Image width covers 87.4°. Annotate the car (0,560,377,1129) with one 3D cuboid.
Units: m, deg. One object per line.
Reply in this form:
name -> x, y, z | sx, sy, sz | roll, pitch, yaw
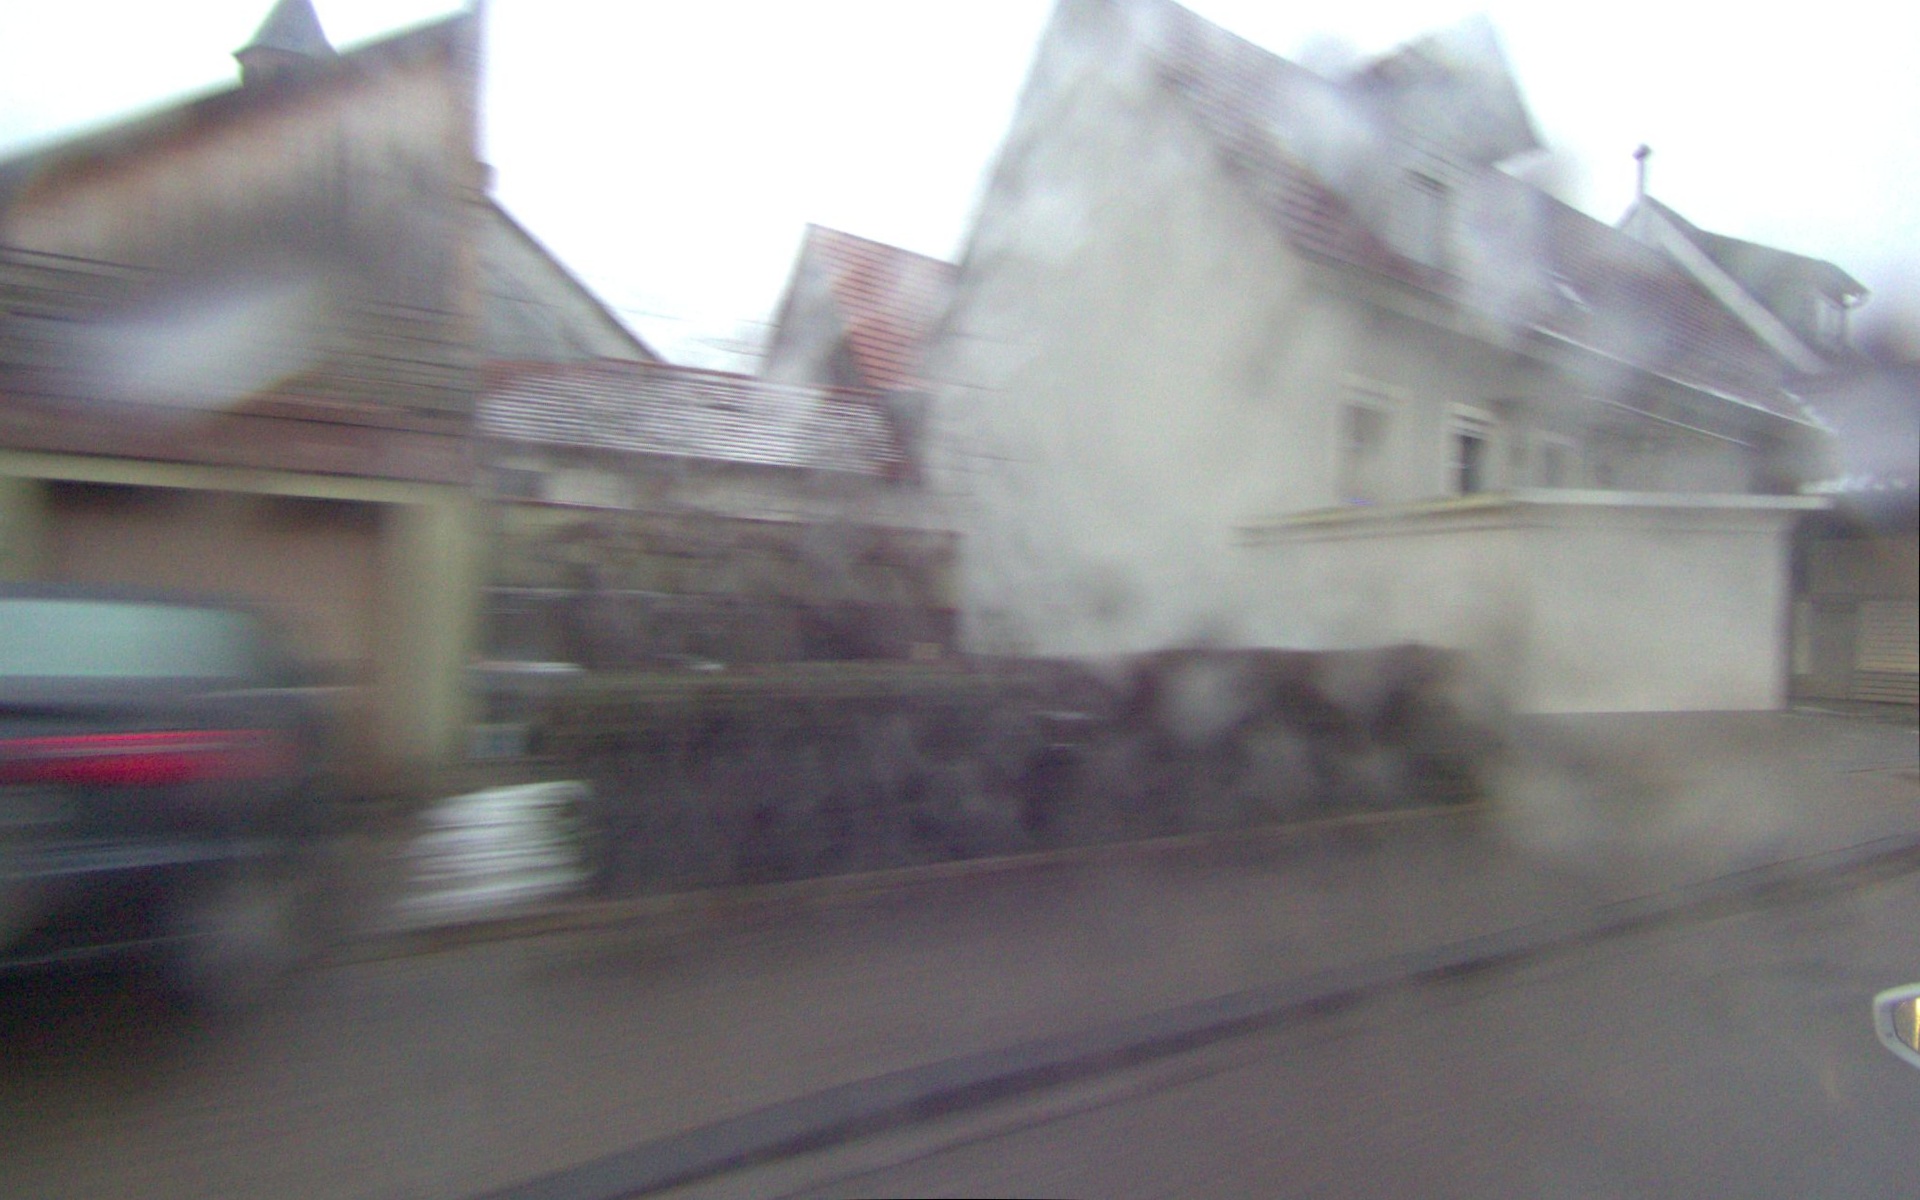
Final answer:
car -> -3.862, 0.645, 4.492 | 1.975, 1.490, 4.574 | 2, -1, -28
